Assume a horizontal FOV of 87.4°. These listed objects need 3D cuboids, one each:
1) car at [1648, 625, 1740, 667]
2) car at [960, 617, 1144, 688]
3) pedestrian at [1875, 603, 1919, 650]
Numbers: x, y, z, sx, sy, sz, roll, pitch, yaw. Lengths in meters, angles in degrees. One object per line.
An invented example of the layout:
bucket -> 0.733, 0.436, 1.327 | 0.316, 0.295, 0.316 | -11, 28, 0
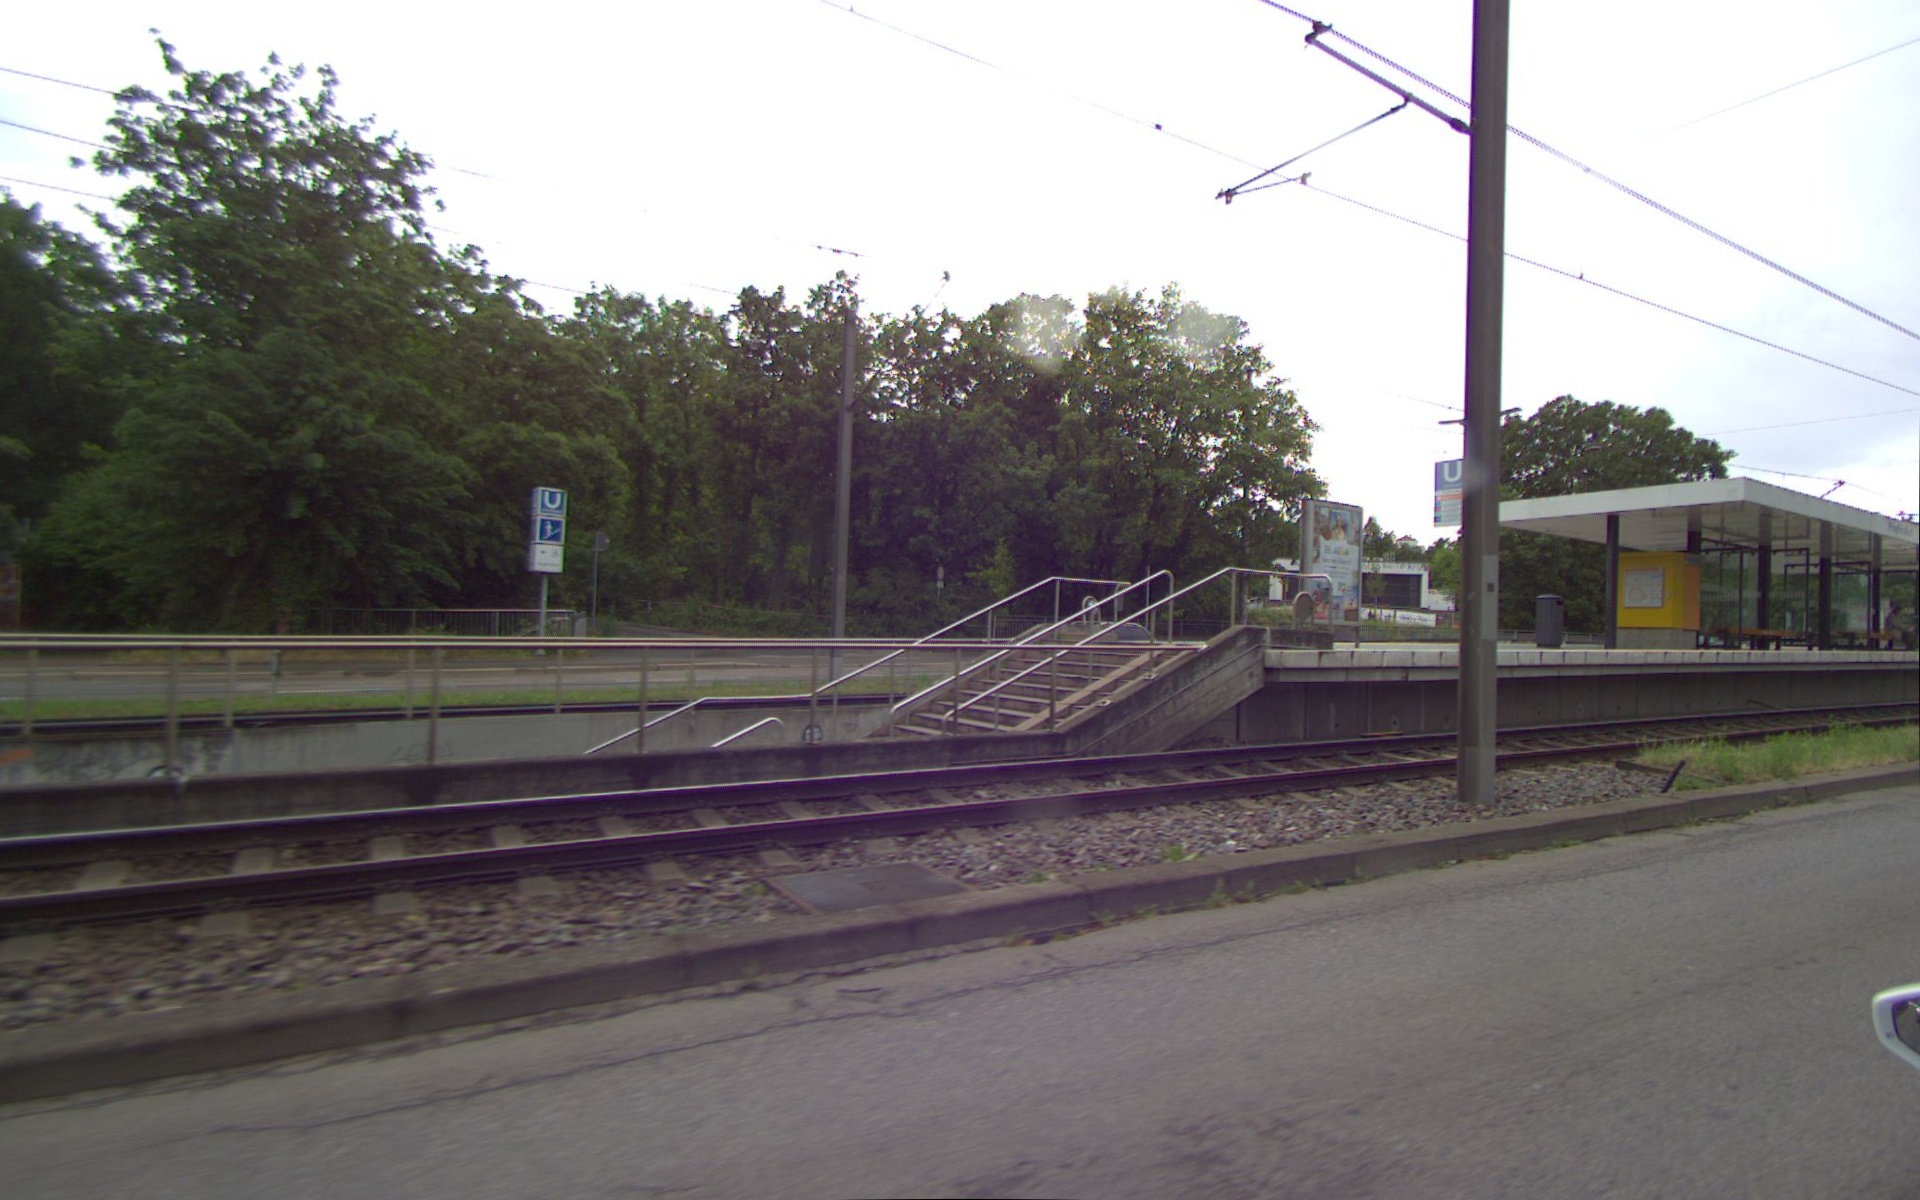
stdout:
car -> 35.352, 2.183, 48.357 | 4.464, 1.901, 1.984 | 2, -1, -30
car -> 2.409, 1.319, 25.886 | 4.469, 1.645, 1.982 | 2, -1, -33
pedestrian -> 25.083, 0.708, 26.875 | 0.612, 1.242, 0.707 | 1, 0, -29
